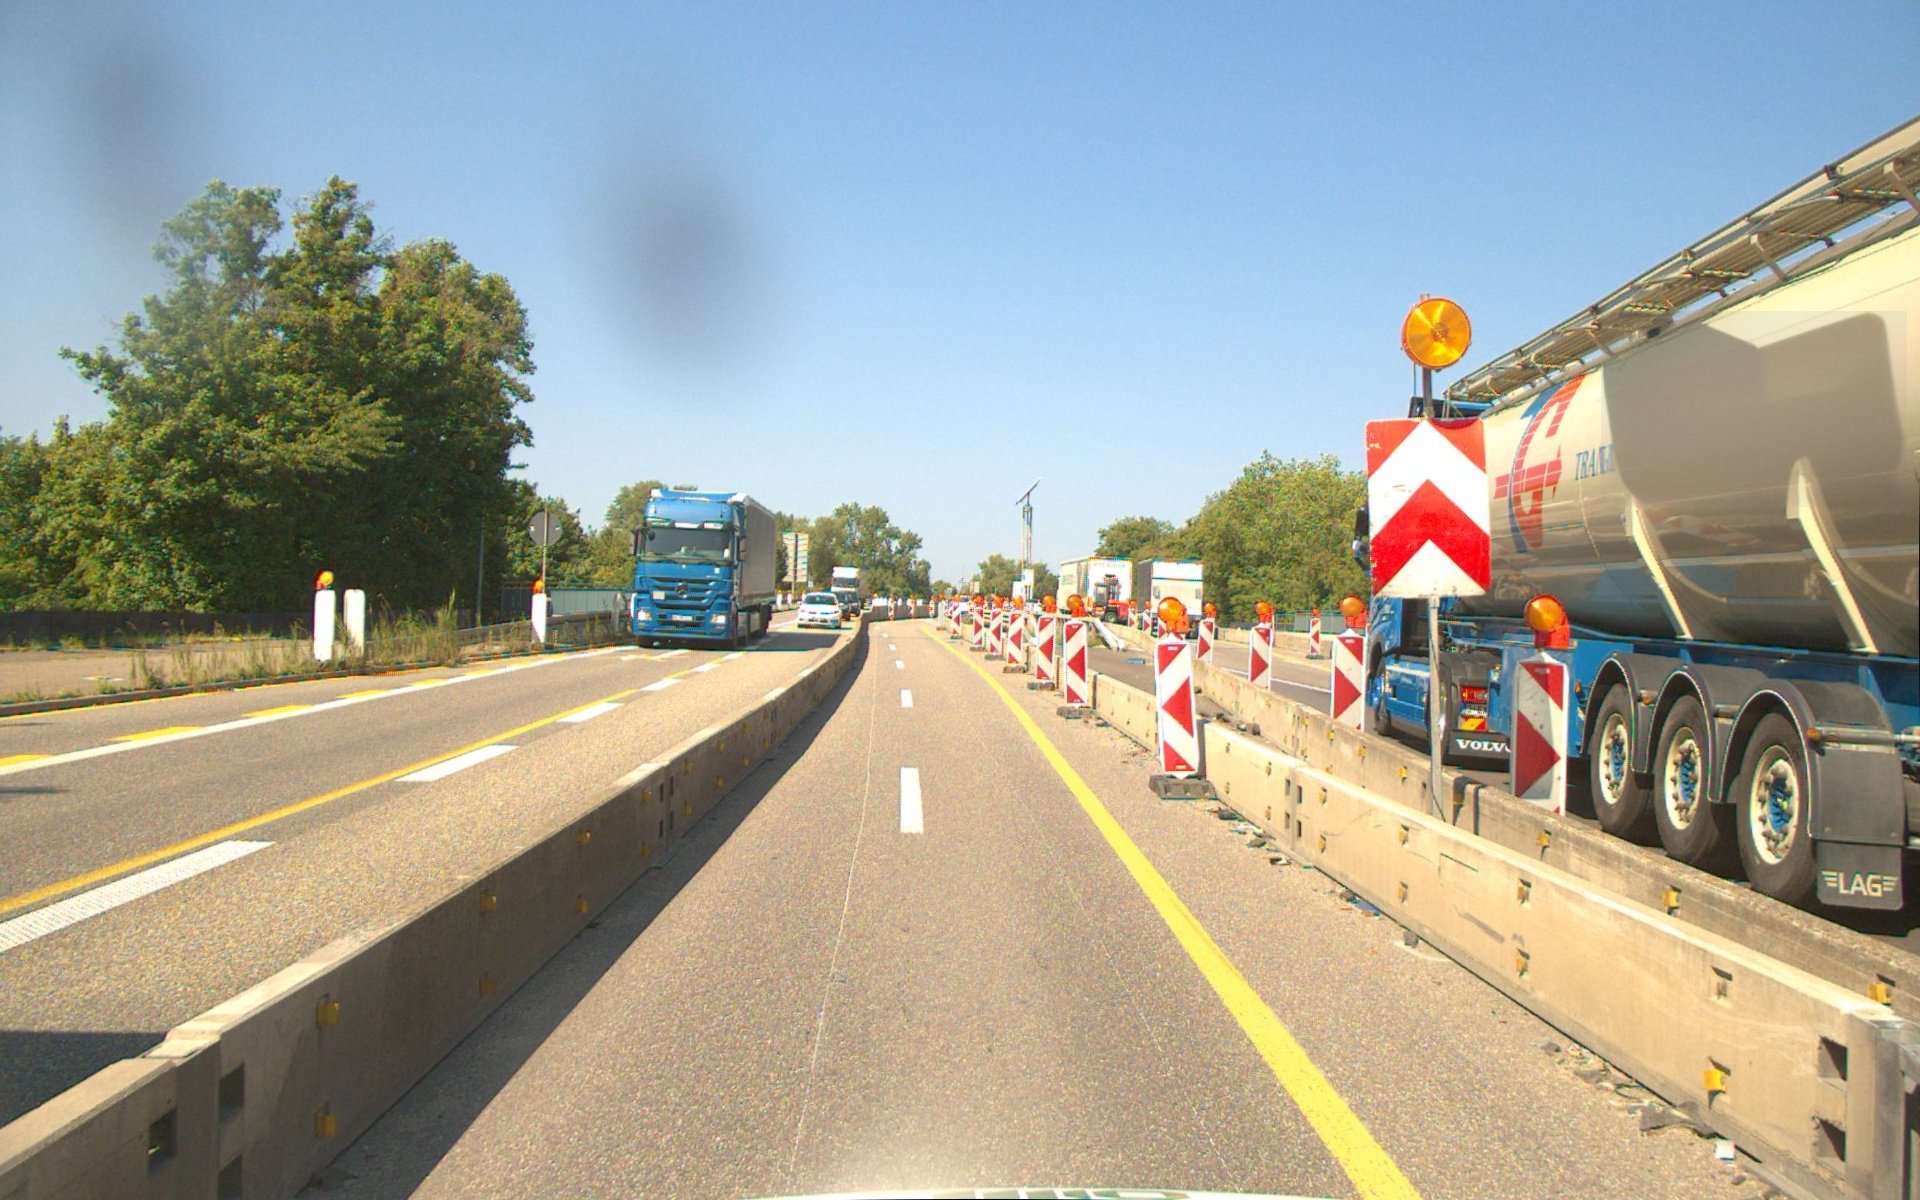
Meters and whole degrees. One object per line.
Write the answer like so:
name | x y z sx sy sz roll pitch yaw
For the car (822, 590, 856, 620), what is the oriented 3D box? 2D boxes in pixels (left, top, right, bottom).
car | -6.736 0.283 92.167 1.703 1.579 3.941 1 0 -3

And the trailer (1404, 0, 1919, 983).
trailer | 5.572 -0.597 11.674 2.637 4.210 12.622 1 0 6

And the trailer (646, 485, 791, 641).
trailer | -7.123 -1.037 50.753 2.747 4.113 13.464 1 0 -1

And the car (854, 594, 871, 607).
car | -11.779 0.078 200.056 1.894 1.534 4.467 2 0 -2

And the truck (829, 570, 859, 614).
truck | -11.453 -0.766 163.504 2.694 4.209 6.412 1 0 -2

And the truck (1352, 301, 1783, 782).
truck | 6.157 -0.519 18.083 2.637 4.174 7.305 1 0 6

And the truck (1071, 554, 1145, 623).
truck | 8.598 -0.667 96.658 3.321 3.840 7.229 1 0 -3

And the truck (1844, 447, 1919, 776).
truck | 11.536 0.136 14.681 2.546 3.493 8.732 1 0 -1

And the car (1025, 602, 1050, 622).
car | 7.193 1.112 153.702 1.954 1.807 3.998 1 0 -3

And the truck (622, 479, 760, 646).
truck | -6.964 -0.951 43.598 2.758 4.060 5.983 1 0 -2

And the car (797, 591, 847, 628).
car | -5.691 0.366 68.609 1.777 1.442 4.152 1 0 -1

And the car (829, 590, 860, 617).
car | -7.622 0.225 109.526 1.825 1.660 4.564 2 0 -2

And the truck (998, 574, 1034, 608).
truck | 7.248 -1.112 216.280 4.134 4.341 10.239 1 0 -1

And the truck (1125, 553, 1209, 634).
truck | 9.354 -0.317 75.295 2.581 3.487 7.229 0 0 -3

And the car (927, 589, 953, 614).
car | -1.506 0.124 124.226 1.780 1.807 3.998 1 0 -3
